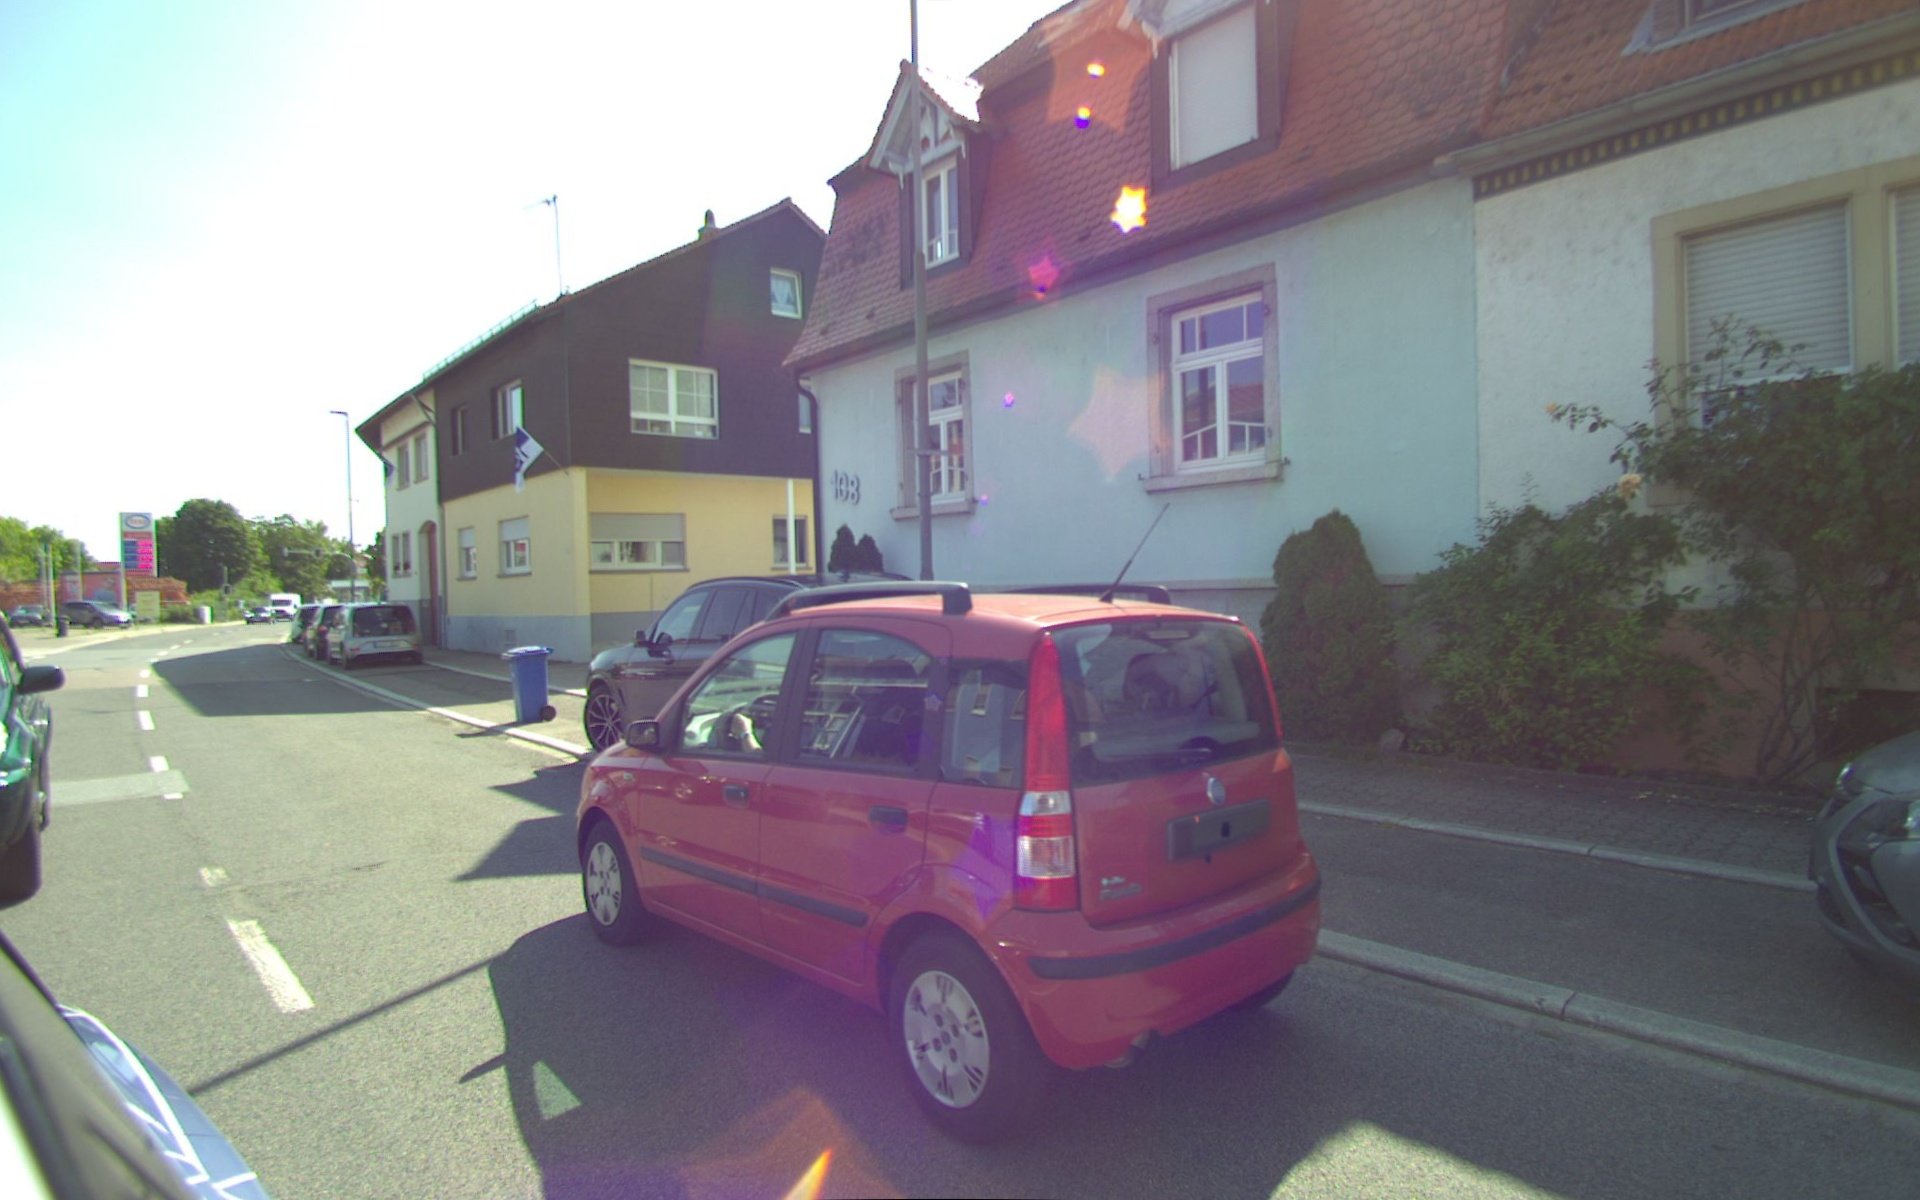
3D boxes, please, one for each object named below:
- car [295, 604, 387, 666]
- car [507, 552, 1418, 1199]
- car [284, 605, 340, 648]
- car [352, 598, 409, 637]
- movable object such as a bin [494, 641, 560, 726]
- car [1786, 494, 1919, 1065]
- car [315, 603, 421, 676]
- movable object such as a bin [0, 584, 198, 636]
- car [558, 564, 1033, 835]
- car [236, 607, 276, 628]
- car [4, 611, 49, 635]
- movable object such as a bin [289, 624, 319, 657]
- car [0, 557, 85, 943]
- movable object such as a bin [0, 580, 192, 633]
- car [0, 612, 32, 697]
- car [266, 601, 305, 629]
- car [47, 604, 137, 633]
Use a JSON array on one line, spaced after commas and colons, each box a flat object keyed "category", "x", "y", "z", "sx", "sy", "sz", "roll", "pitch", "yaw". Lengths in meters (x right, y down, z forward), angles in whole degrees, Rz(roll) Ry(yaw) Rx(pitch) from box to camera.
[{"category": "car", "x": -17.224, "y": 0.911, "z": 28.099, "sx": 1.657, "sy": 1.447, "sz": 4.004, "roll": -5, "pitch": 3, "yaw": -38}, {"category": "car", "x": -0.323, "y": 0.642, "z": 4.106, "sx": 1.582, "sy": 1.500, "sz": 3.628, "roll": -3, "pitch": 1, "yaw": -44}, {"category": "car", "x": -24.629, "y": 0.974, "z": 38.494, "sx": 1.661, "sy": 1.473, "sz": 3.659, "roll": -2, "pitch": 1, "yaw": -32}, {"category": "car", "x": -29.915, "y": 0.867, "z": 52.348, "sx": 1.811, "sy": 1.806, "sz": 4.357, "roll": -4, "pitch": 1, "yaw": -21}, {"category": "movable object such as a bin", "x": -5.470, "y": 1.042, "z": 12.776, "sx": 0.589, "sy": 0.989, "sz": 0.532, "roll": -3, "pitch": 1, "yaw": -42}, {"category": "car", "x": 4.777, "y": 0.466, "z": 1.948, "sx": 1.850, "sy": 1.649, "sz": 4.671, "roll": -3, "pitch": 1, "yaw": -40}, {"category": "car", "x": -14.214, "y": 0.868, "z": 24.215, "sx": 1.620, "sy": 1.512, "sz": 3.789, "roll": -4, "pitch": 2, "yaw": -38}, {"category": "movable object such as a bin", "x": -75.126, "y": 0.785, "z": 88.679, "sx": 13.070, "sy": 4.197, "sz": 2.872, "roll": -1, "pitch": 0, "yaw": -30}, {"category": "car", "x": -1.713, "y": 0.636, "z": 8.916, "sx": 1.897, "sy": 1.680, "sz": 4.672, "roll": -4, "pitch": 3, "yaw": -41}, {"category": "car", "x": -57.058, "y": 1.422, "z": 82.104, "sx": 1.815, "sy": 1.604, "sz": 4.119, "roll": -1, "pitch": 0, "yaw": -23}, {"category": "car", "x": -66.921, "y": 1.624, "z": 72.595, "sx": 1.817, "sy": 1.604, "sz": 4.116, "roll": -1, "pitch": 0, "yaw": -35}, {"category": "movable object such as a bin", "x": -19.952, "y": 1.231, "z": 30.781, "sx": 0.545, "sy": 0.935, "sz": 0.826, "roll": -7, "pitch": 4, "yaw": -43}, {"category": "car", "x": -6.273, "y": 0.724, "z": 5.707, "sx": 1.820, "sy": 1.709, "sz": 4.406, "roll": 0, "pitch": -1, "yaw": -38}, {"category": "movable object such as a bin", "x": -71.847, "y": 0.515, "z": 81.388, "sx": 15.829, "sy": 4.049, "sz": 2.782, "roll": -1, "pitch": 0, "yaw": -30}, {"category": "car", "x": -17.979, "y": 0.928, "z": 17.578, "sx": 1.708, "sy": 1.506, "sz": 4.368, "roll": 0, "pitch": -5, "yaw": -28}, {"category": "car", "x": -62.494, "y": 1.363, "z": 93.815, "sx": 1.906, "sy": 2.521, "sz": 5.857, "roll": -1, "pitch": 0, "yaw": -23}, {"category": "car", "x": -50.653, "y": 1.078, "z": 59.092, "sx": 4.135, "sy": 1.567, "sz": 1.769, "roll": -1, "pitch": 0, "yaw": 10}]
